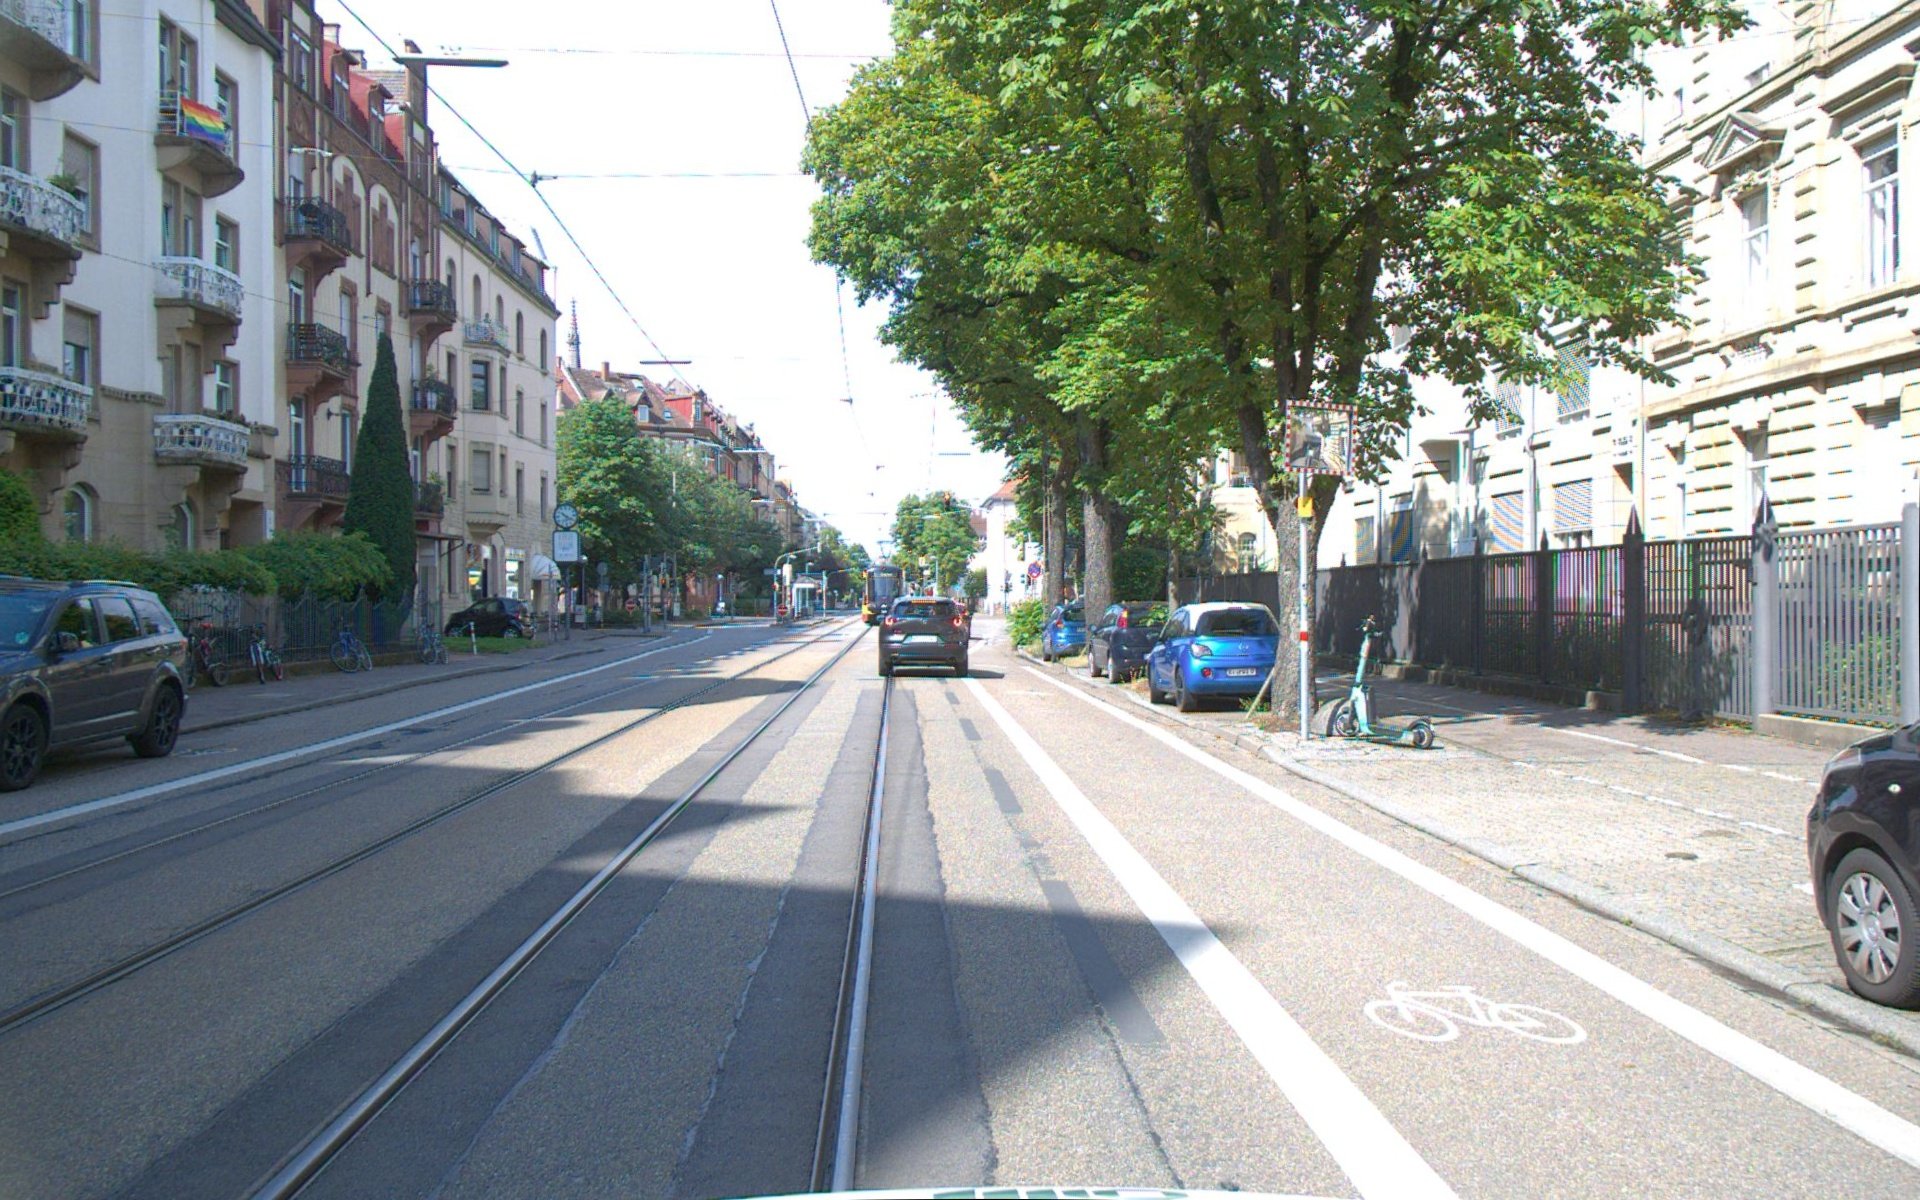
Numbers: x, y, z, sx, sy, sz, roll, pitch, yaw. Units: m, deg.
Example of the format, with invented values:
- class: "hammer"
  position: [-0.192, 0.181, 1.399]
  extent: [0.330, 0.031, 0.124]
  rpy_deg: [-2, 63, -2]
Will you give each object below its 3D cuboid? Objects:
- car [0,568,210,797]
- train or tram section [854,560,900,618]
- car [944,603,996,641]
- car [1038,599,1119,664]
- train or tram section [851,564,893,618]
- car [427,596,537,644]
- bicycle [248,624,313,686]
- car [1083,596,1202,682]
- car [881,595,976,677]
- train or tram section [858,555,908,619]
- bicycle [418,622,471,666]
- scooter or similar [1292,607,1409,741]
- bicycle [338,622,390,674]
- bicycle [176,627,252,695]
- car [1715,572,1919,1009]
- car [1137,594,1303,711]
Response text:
- class: "car"
  position: [-8.561, 0.651, 14.860]
  extent: [1.750, 1.793, 4.878]
  rpy_deg: [-1, 0, -5]
- class: "train or tram section"
  position: [-5.467, -0.650, 108.105]
  extent: [2.600, 3.589, 8.487]
  rpy_deg: [-1, 0, -5]
- class: "car"
  position: [0.393, 0.897, 69.666]
  extent: [1.750, 1.518, 4.878]
  rpy_deg: [-1, 0, -5]
- class: "car"
  position: [2.984, 0.762, 42.391]
  extent: [1.591, 1.522, 3.846]
  rpy_deg: [-2, 0, -2]
- class: "train or tram section"
  position: [-6.236, -0.583, 116.596]
  extent: [2.600, 3.589, 8.487]
  rpy_deg: [-1, 0, -5]
- class: "car"
  position: [-16.104, 0.664, 55.866]
  extent: [3.169, 1.539, 1.679]
  rpy_deg: [1, -1, 1]
- class: "bicycle"
  position: [-11.663, 0.924, 28.444]
  extent: [0.375, 0.992, 1.801]
  rpy_deg: [1, 0, -1]
- class: "car"
  position: [3.468, 0.712, 32.037]
  extent: [1.607, 1.522, 3.754]
  rpy_deg: [-2, 0, -4]
- class: "car"
  position: [-0.706, 0.671, 33.603]
  extent: [1.754, 1.538, 4.348]
  rpy_deg: [1, 0, -3]
- class: "train or tram section"
  position: [-4.705, -0.717, 99.607]
  extent: [2.600, 3.589, 8.487]
  rpy_deg: [-1, 0, -5]
- class: "bicycle"
  position: [-11.950, 1.016, 38.399]
  extent: [0.500, 0.976, 1.816]
  rpy_deg: [2, -2, 5]
- class: "scooter or similar"
  position: [4.056, 0.744, 17.233]
  extent: [0.437, 1.322, 1.169]
  rpy_deg: [-4, 2, -33]
- class: "bicycle"
  position: [-11.821, 0.936, 32.839]
  extent: [0.417, 0.976, 1.705]
  rpy_deg: [1, 0, -1]
- class: "bicycle"
  position: [-11.694, 0.939, 25.957]
  extent: [0.375, 0.976, 1.801]
  rpy_deg: [1, 0, -1]
- class: "car"
  position: [4.398, 0.670, 5.444]
  extent: [1.663, 1.619, 4.200]
  rpy_deg: [-2, 0, -3]
- class: "car"
  position: [3.705, 0.705, 24.143]
  extent: [1.607, 1.522, 3.624]
  rpy_deg: [-2, 0, -4]
